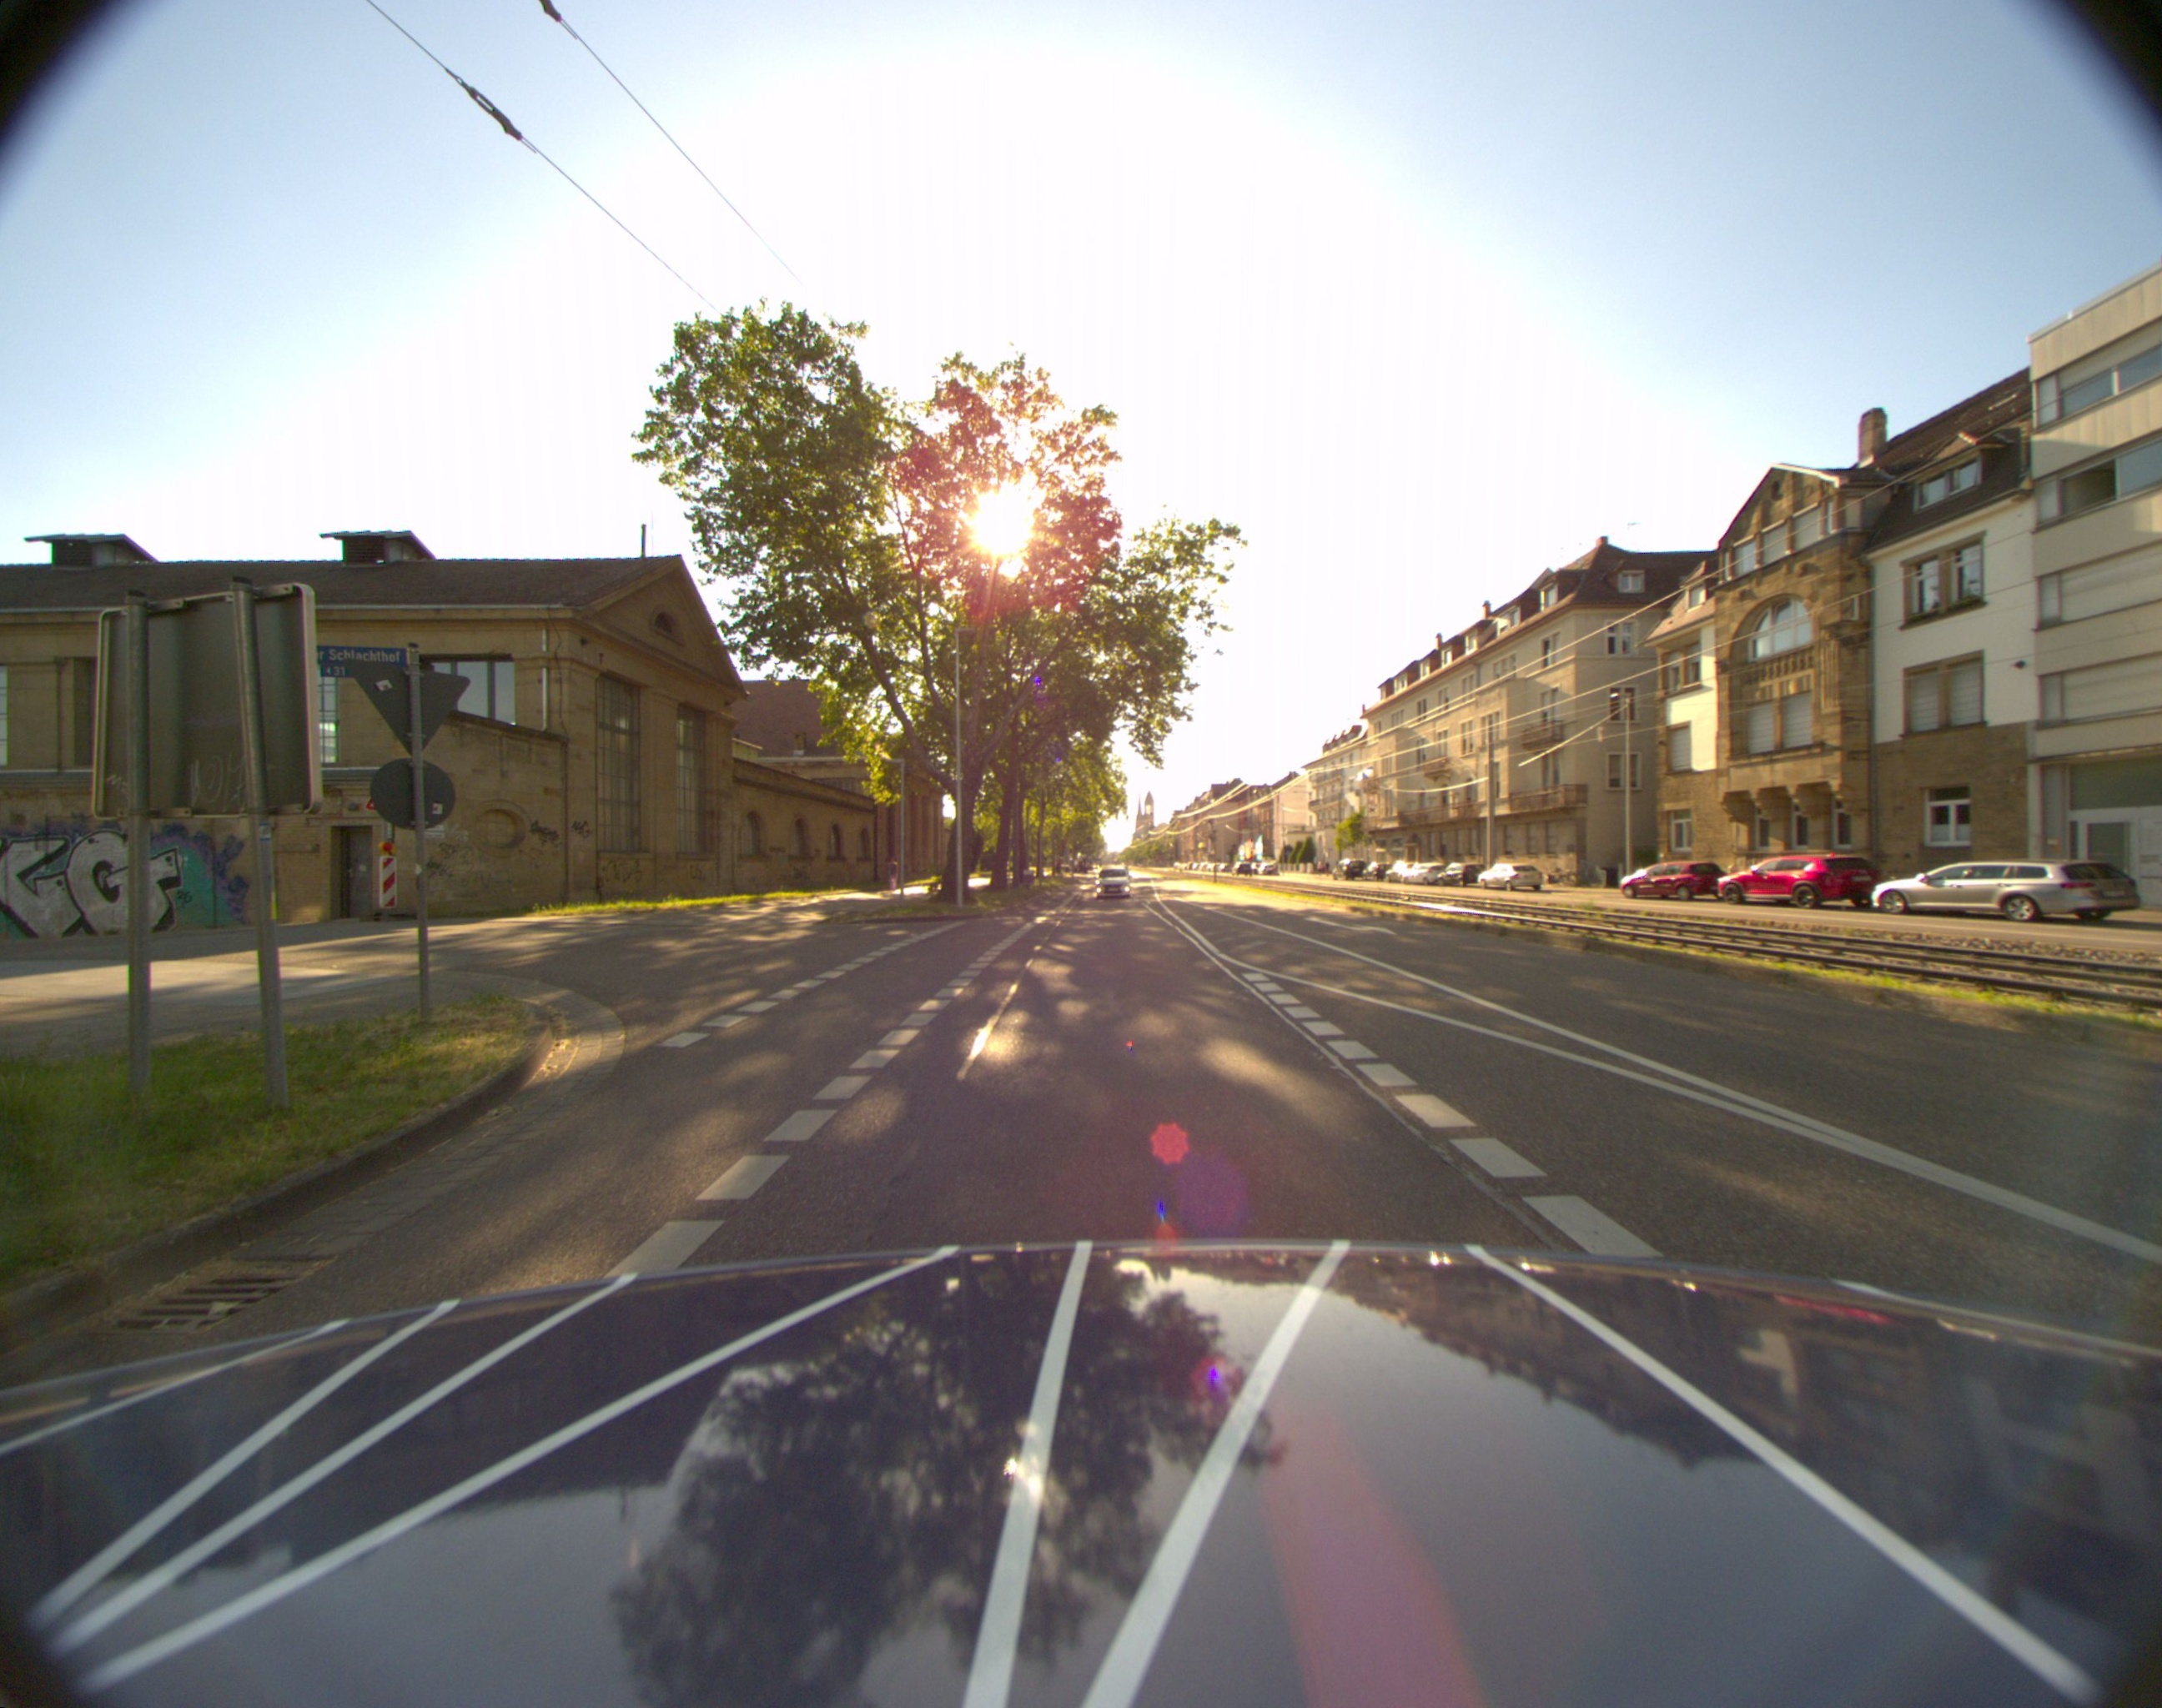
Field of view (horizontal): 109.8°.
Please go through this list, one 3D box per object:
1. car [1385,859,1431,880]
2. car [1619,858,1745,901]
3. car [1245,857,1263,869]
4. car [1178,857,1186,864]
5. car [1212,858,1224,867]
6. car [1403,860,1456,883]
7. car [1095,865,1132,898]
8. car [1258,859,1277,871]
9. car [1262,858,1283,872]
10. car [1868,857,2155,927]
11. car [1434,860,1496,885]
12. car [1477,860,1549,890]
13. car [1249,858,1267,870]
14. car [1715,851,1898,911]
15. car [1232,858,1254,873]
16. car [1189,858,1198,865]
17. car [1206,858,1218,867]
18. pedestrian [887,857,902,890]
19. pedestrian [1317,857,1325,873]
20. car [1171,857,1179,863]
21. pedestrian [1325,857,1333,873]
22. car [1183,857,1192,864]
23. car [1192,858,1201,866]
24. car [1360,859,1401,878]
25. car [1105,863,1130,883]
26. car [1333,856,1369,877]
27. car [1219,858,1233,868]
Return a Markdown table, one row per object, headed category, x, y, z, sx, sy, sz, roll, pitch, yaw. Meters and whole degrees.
| category | x | y | z | sx | sy | sz | roll | pitch | yaw |
| --- | --- | --- | --- | --- | --- | --- | --- | --- | --- |
| car | 24.037 | 1.116 | 56.006 | 1.802 | 1.470 | 3.823 | -2 | 0 | 1 |
| car | 23.320 | 0.956 | 29.676 | 1.756 | 1.487 | 3.729 | -2 | 0 | -5 |
| car | 24.886 | 1.279 | 109.556 | 1.727 | 1.776 | 3.881 | -2 | 0 | 1 |
| car | 25.606 | 1.702 | 192.605 | 1.624 | 1.581 | 3.450 | -2 | 0 | 1 |
| car | 25.176 | 1.628 | 139.417 | 1.624 | 1.581 | 3.450 | -2 | 0 | 1 |
| car | 23.369 | 1.141 | 51.111 | 1.642 | 1.438 | 3.538 | -2 | 0 | -6 |
| car | 1.631 | 1.345 | 38.148 | 1.686 | 1.462 | 4.056 | -2 | -1 | 2 |
| car | 24.296 | 1.421 | 99.120 | 1.684 | 1.562 | 3.389 | -2 | 0 | 1 |
| car | 23.664 | 1.350 | 93.940 | 1.677 | 1.622 | 3.408 | -2 | 0 | 1 |
| car | 23.156 | 0.879 | 19.250 | 1.861 | 1.490 | 4.382 | -2 | 0 | 0 |
| car | 23.646 | 1.116 | 46.939 | 1.802 | 1.422 | 3.823 | -2 | 0 | -1 |
| car | 23.571 | 1.108 | 41.578 | 1.802 | 1.470 | 3.823 | -2 | 0 | 1 |
| car | 24.366 | 1.427 | 104.606 | 1.684 | 1.562 | 3.389 | -2 | 0 | 1 |
| car | 23.197 | 0.818 | 24.559 | 1.860 | 1.677 | 4.264 | -2 | 0 | 2 |
| car | 18.906 | 1.342 | 88.687 | 1.822 | 1.674 | 4.001 | 0 | 0 | 1 |
| car | 25.811 | 1.702 | 174.474 | 1.624 | 1.581 | 3.450 | -2 | 0 | 1 |
| car | 25.040 | 1.616 | 145.010 | 1.624 | 1.581 | 3.450 | -2 | 0 | 1 |
| pedestrian | -9.477 | 0.964 | 38.584 | 0.672 | 1.652 | 0.873 | 1 | 0 | -10 |
| pedestrian | 26.572 | 1.199 | 84.167 | 0.725 | 1.779 | 0.678 | 0 | 0 | 0 |
| car | 27.161 | 1.819 | 219.525 | 1.624 | 1.581 | 3.450 | -2 | 0 | 1 |
| pedestrian | 27.445 | 1.198 | 84.119 | 0.725 | 1.779 | 0.678 | 0 | 0 | 0 |
| car | 25.533 | 1.632 | 181.737 | 1.624 | 1.581 | 3.450 | -2 | 0 | 1 |
| car | 25.709 | 1.730 | 169.303 | 1.624 | 1.581 | 3.450 | -2 | 0 | 1 |
| car | 24.360 | 1.156 | 61.939 | 1.802 | 1.470 | 3.823 | -2 | 0 | 1 |
| car | 2.711 | 1.397 | 56.862 | 1.686 | 1.462 | 4.055 | 0 | 0 | 1 |
| car | 23.941 | 1.110 | 67.445 | 1.875 | 1.726 | 3.916 | -2 | 0 | 1 |
| car | 24.785 | 1.525 | 130.023 | 1.624 | 1.581 | 3.450 | -2 | 0 | 1 |
